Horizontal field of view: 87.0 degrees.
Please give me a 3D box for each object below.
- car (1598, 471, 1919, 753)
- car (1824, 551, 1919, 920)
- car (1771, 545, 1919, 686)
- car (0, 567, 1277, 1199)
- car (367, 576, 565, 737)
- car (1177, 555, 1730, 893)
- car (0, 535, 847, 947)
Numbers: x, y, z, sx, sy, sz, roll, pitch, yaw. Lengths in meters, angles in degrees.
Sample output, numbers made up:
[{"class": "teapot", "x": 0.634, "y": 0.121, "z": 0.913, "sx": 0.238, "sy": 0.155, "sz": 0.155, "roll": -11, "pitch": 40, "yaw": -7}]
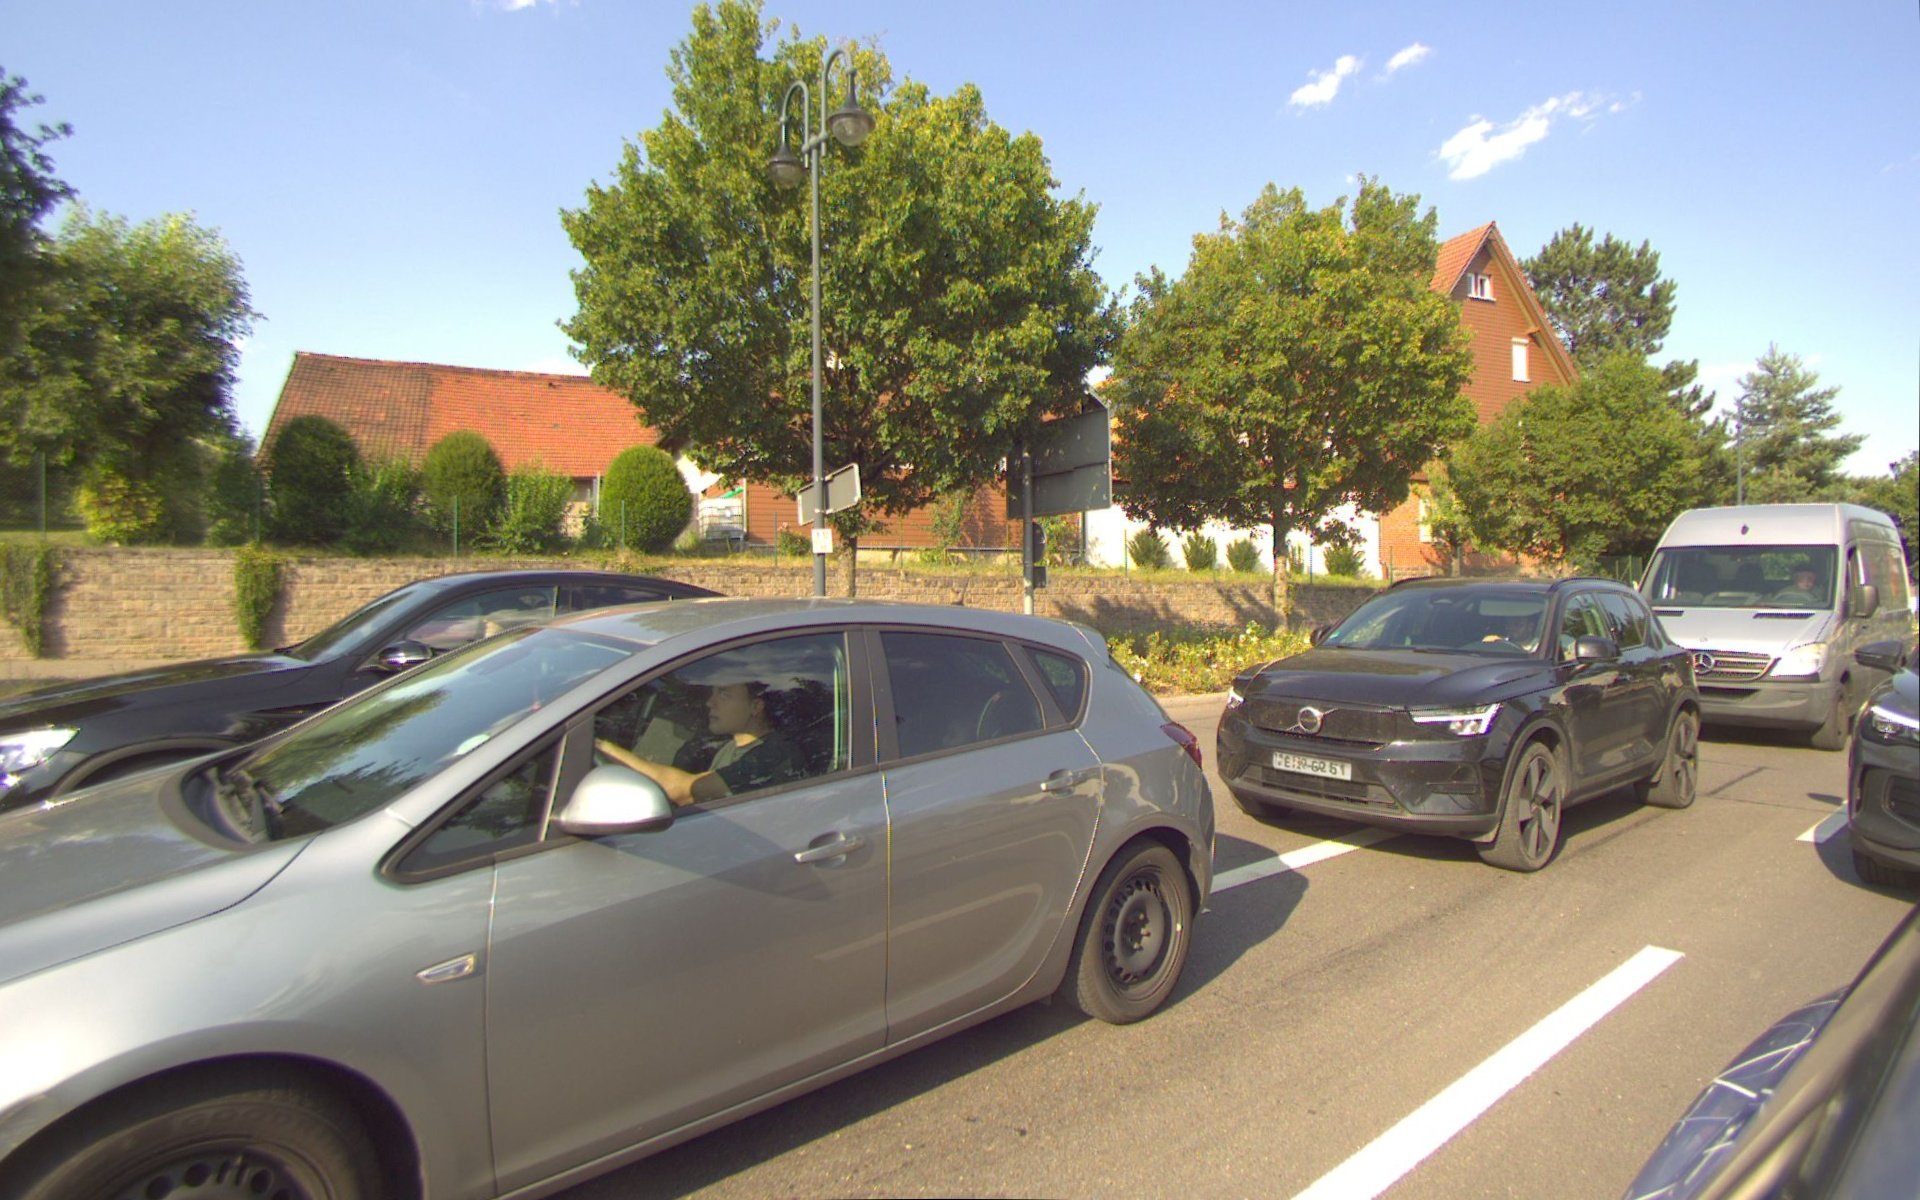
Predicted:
[{"class": "car", "x": 9.793, "y": 0.075, "z": 12.028, "sx": 5.938, "sy": 2.601, "sz": 1.992, "roll": 0, "pitch": 1, "yaw": -40}, {"class": "car", "x": 6.244, "y": 0.610, "z": 5.365, "sx": 4.242, "sy": 1.629, "sz": 1.844, "roll": 0, "pitch": 2, "yaw": -40}, {"class": "car", "x": 15.092, "y": 0.192, "z": 16.699, "sx": 4.242, "sy": 2.055, "sz": 1.844, "roll": 0, "pitch": 2, "yaw": -40}, {"class": "car", "x": -0.939, "y": 0.664, "z": 3.181, "sx": 4.244, "sy": 1.471, "sz": 1.765, "roll": 0, "pitch": 2, "yaw": -42}, {"class": "car", "x": -5.866, "y": 0.522, "z": 11.742, "sx": 1.743, "sy": 1.510, "sz": 4.156, "roll": 0, "pitch": 0, "yaw": -31}, {"class": "car", "x": 3.566, "y": 0.562, "z": 6.952, "sx": 4.242, "sy": 1.629, "sz": 1.844, "roll": 0, "pitch": 2, "yaw": -40}, {"class": "car", "x": -2.999, "y": 0.522, "z": 5.991, "sx": 4.490, "sy": 1.628, "sz": 1.763, "roll": 0, "pitch": 2, "yaw": -44}]
